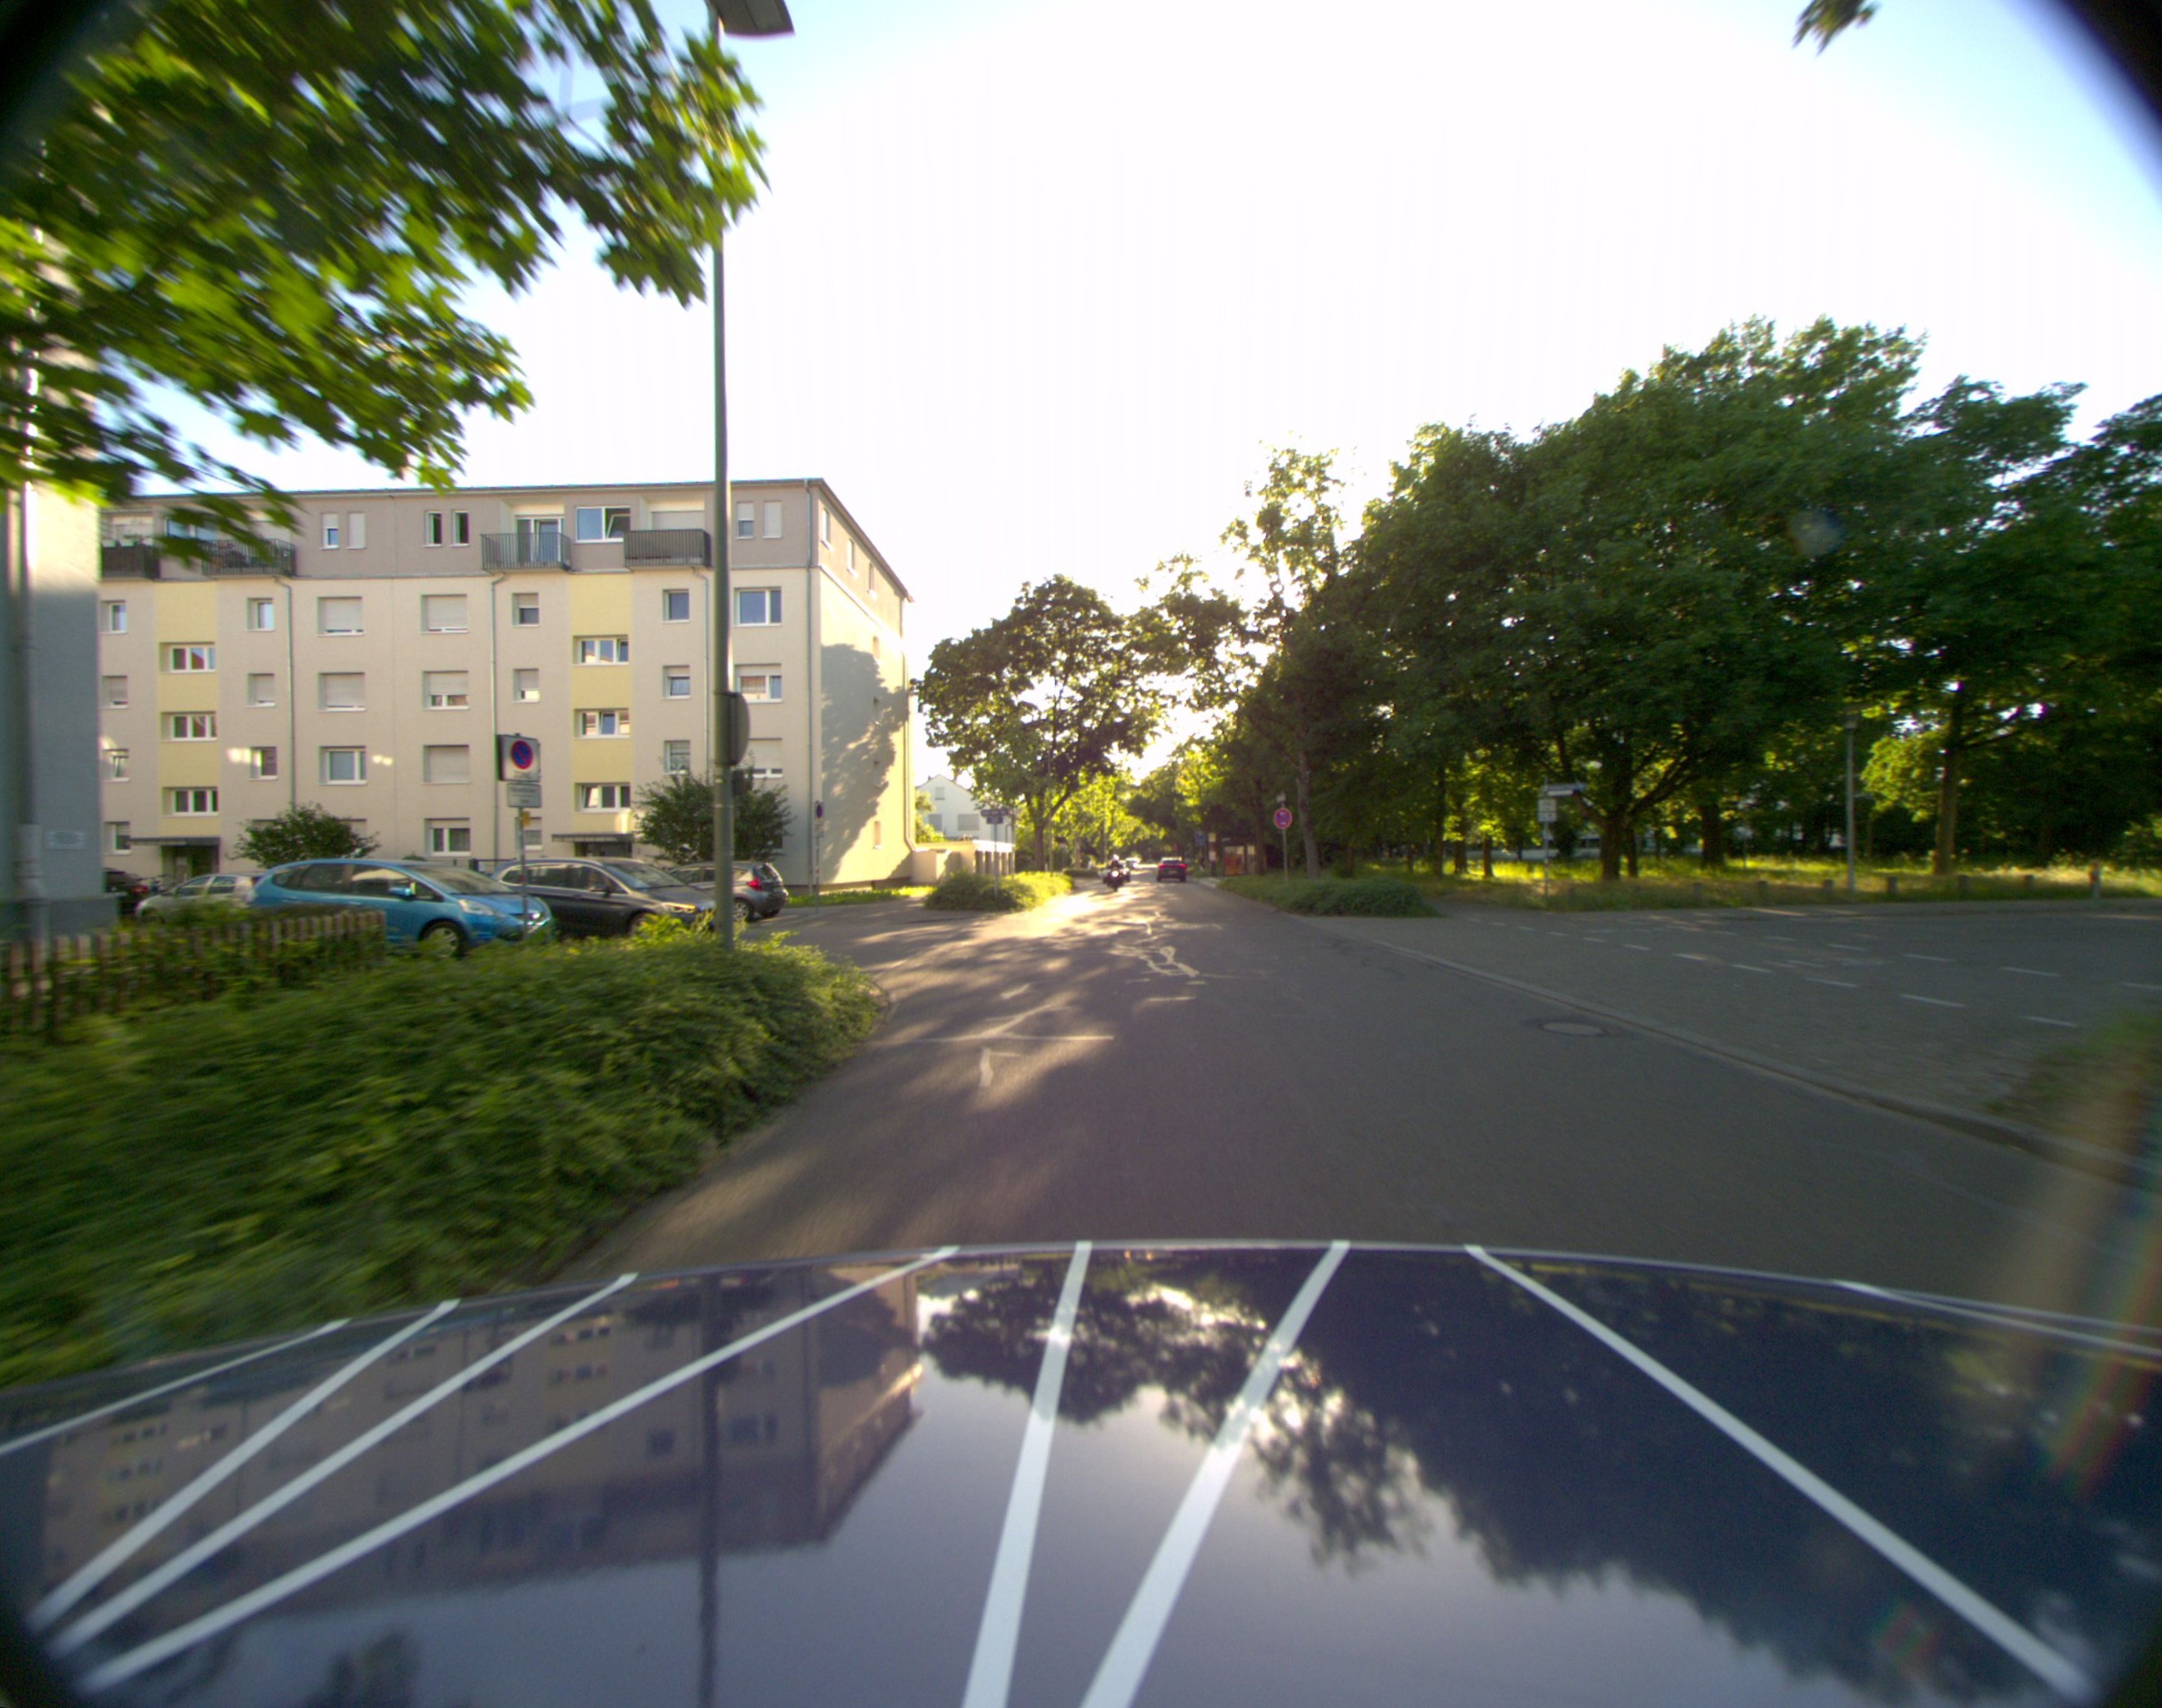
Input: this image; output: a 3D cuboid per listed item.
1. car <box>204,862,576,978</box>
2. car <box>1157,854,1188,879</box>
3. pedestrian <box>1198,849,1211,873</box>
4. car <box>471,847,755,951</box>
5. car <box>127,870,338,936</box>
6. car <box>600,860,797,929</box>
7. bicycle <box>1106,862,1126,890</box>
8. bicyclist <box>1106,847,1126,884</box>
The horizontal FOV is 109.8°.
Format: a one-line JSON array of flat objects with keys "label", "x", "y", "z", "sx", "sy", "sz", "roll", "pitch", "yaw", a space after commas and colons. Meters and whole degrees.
[{"label": "car", "x": -10.286, "y": 0.941, "z": 11.561, "sx": 3.997, "sy": 1.572, "sz": 1.810, "roll": -1, "pitch": -1, "yaw": 0}, {"label": "car", "x": 5.977, "y": 0.799, "z": 50.210, "sx": 1.848, "sy": 1.569, "sz": 4.337, "roll": 1, "pitch": 0, "yaw": 5}, {"label": "pedestrian", "x": 9.558, "y": 0.534, "z": 58.771, "sx": 0.905, "sy": 1.810, "sz": 0.721, "roll": -1, "pitch": 0, "yaw": 2}, {"label": "car", "x": -8.564, "y": 0.803, "z": 14.067, "sx": 4.273, "sy": 1.664, "sz": 1.770, "roll": -3, "pitch": 0, "yaw": 9}, {"label": "car", "x": -21.851, "y": 1.237, "z": 19.663, "sx": 3.499, "sy": 1.485, "sz": 1.750, "roll": -2, "pitch": 0, "yaw": 2}, {"label": "car", "x": -9.548, "y": 0.990, "z": 19.202, "sx": 4.050, "sy": 1.506, "sz": 1.726, "roll": -2, "pitch": 2, "yaw": 1}, {"label": "bicycle", "x": 1.614, "y": 0.968, "z": 34.381, "sx": 0.829, "sy": 1.182, "sz": 2.302, "roll": -2, "pitch": 0, "yaw": 4}, {"label": "bicyclist", "x": 1.595, "y": 0.525, "z": 34.347, "sx": 0.819, "sy": 1.635, "sz": 0.745, "roll": -2, "pitch": 1, "yaw": 4}]
